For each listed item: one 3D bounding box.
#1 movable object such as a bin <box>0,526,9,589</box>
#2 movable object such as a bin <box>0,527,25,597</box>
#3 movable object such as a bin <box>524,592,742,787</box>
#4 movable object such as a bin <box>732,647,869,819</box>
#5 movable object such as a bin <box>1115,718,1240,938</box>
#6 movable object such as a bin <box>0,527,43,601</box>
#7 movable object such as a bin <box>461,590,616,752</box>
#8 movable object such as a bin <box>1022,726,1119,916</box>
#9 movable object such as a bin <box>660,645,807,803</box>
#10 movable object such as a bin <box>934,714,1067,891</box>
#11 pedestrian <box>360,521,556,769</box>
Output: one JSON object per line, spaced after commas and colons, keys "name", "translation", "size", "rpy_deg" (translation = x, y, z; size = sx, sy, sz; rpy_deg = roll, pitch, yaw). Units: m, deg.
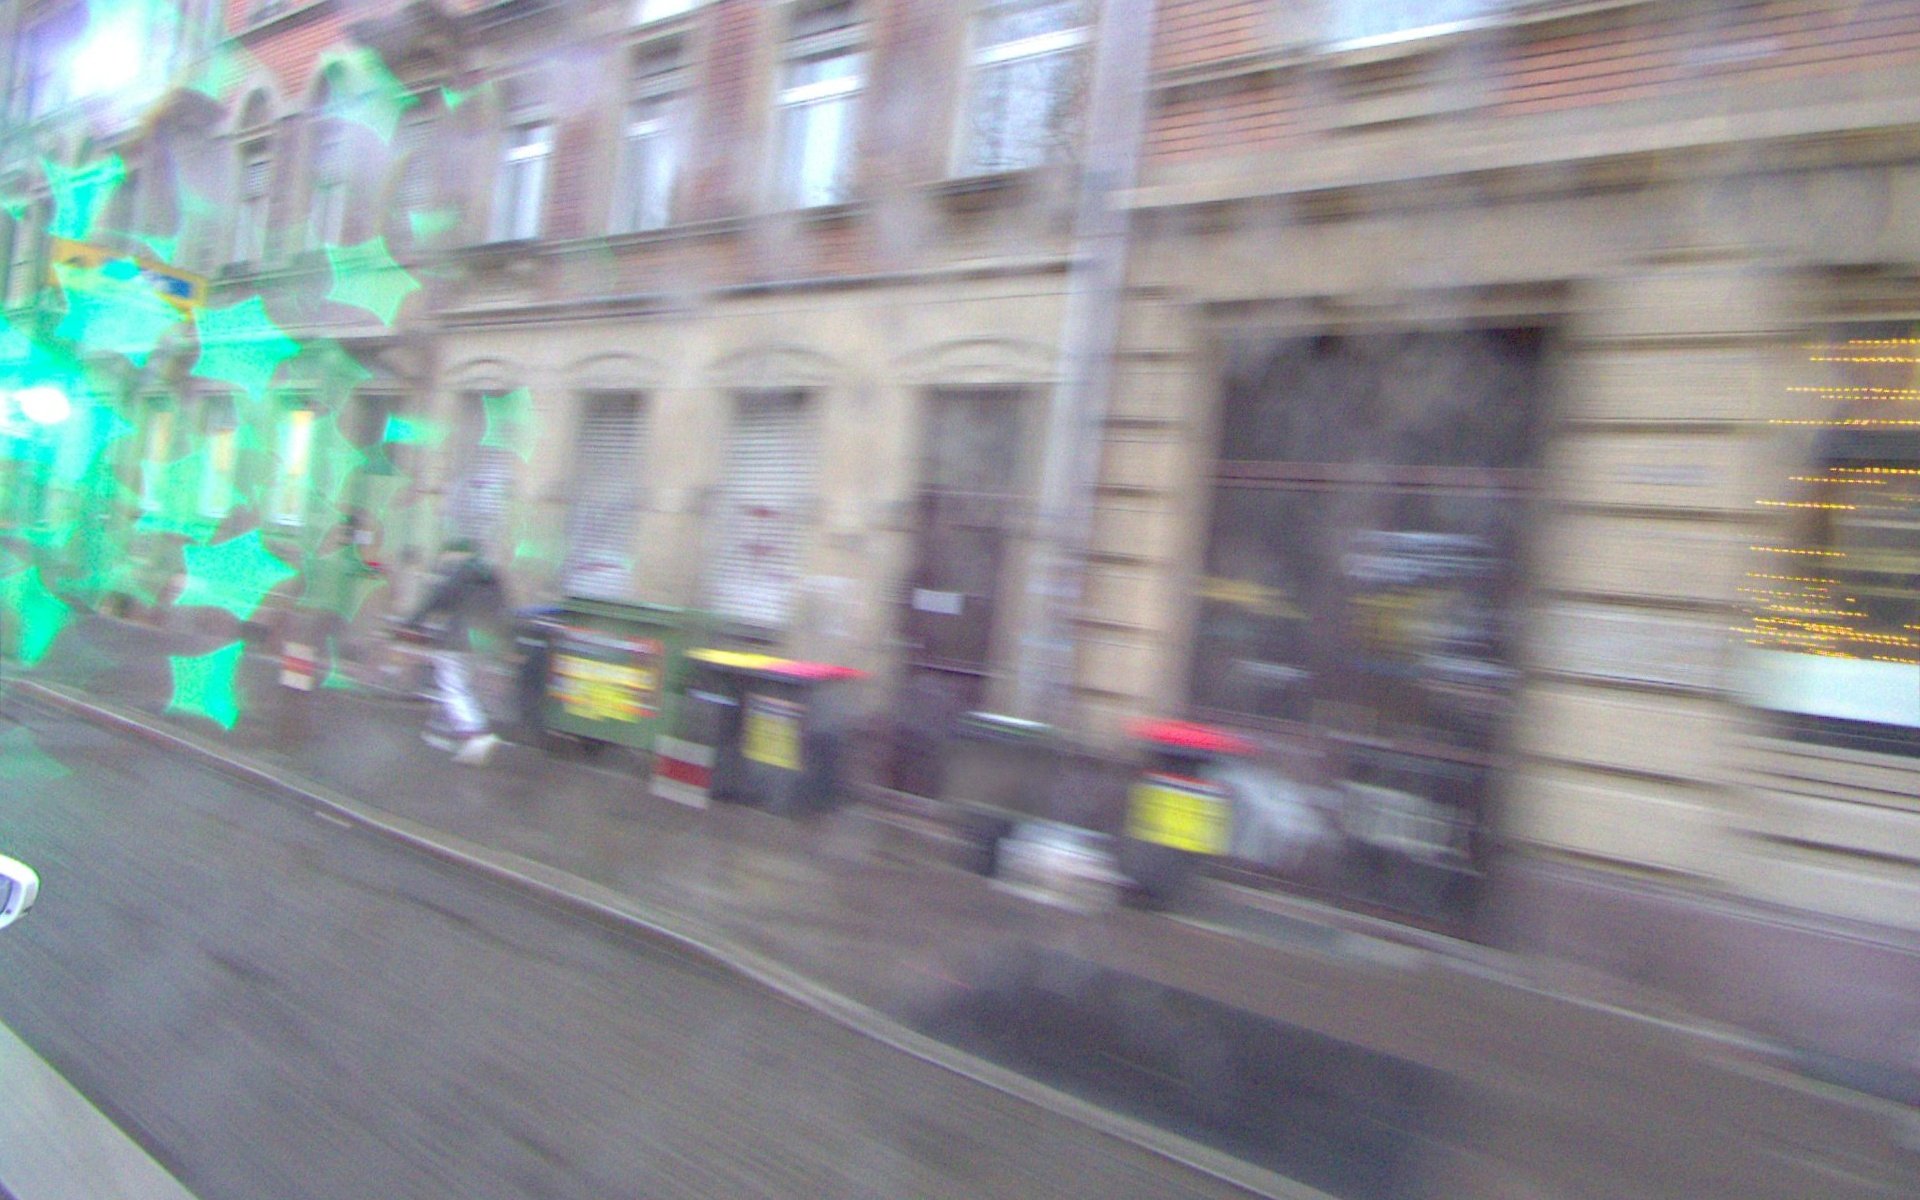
{"name": "movable object such as a bin", "translation": [-16.145, -0.737, 16.415], "size": [0.731, 1.067, 0.642], "rpy_deg": [6, -2, 31]}
{"name": "movable object such as a bin", "translation": [-15.513, -0.648, 16.018], "size": [0.731, 1.067, 0.642], "rpy_deg": [6, -2, 31]}
{"name": "movable object such as a bin", "translation": [-2.588, 0.687, 8.015], "size": [1.239, 1.304, 0.890], "rpy_deg": [7, -1, 24]}
{"name": "movable object such as a bin", "translation": [-1.132, 0.931, 7.147], "size": [0.610, 1.095, 0.592], "rpy_deg": [8, -1, -44]}
{"name": "movable object such as a bin", "translation": [1.233, 1.279, 5.798], "size": [0.482, 1.093, 0.613], "rpy_deg": [7, 0, 3]}
{"name": "movable object such as a bin", "translation": [-14.871, -0.582, 15.626], "size": [0.731, 1.067, 0.642], "rpy_deg": [6, -2, 31]}
{"name": "movable object such as a bin", "translation": [-3.578, 0.600, 8.564], "size": [0.805, 1.225, 0.766], "rpy_deg": [7, -1, 31]}
{"name": "movable object such as a bin", "translation": [0.622, 1.237, 5.742], "size": [0.417, 0.940, 0.490], "rpy_deg": [7, 0, 5]}
{"name": "movable object such as a bin", "translation": [-1.682, 0.917, 7.487], "size": [0.763, 1.051, 0.592], "rpy_deg": [8, -1, -44]}
{"name": "movable object such as a bin", "translation": [0.259, 1.210, 6.181], "size": [0.483, 0.940, 0.612], "rpy_deg": [7, -1, 30]}
{"name": "pedestrian", "translation": [-3.801, 0.341, 7.629], "size": [0.939, 1.720, 0.834], "rpy_deg": [6, -2, 39]}
